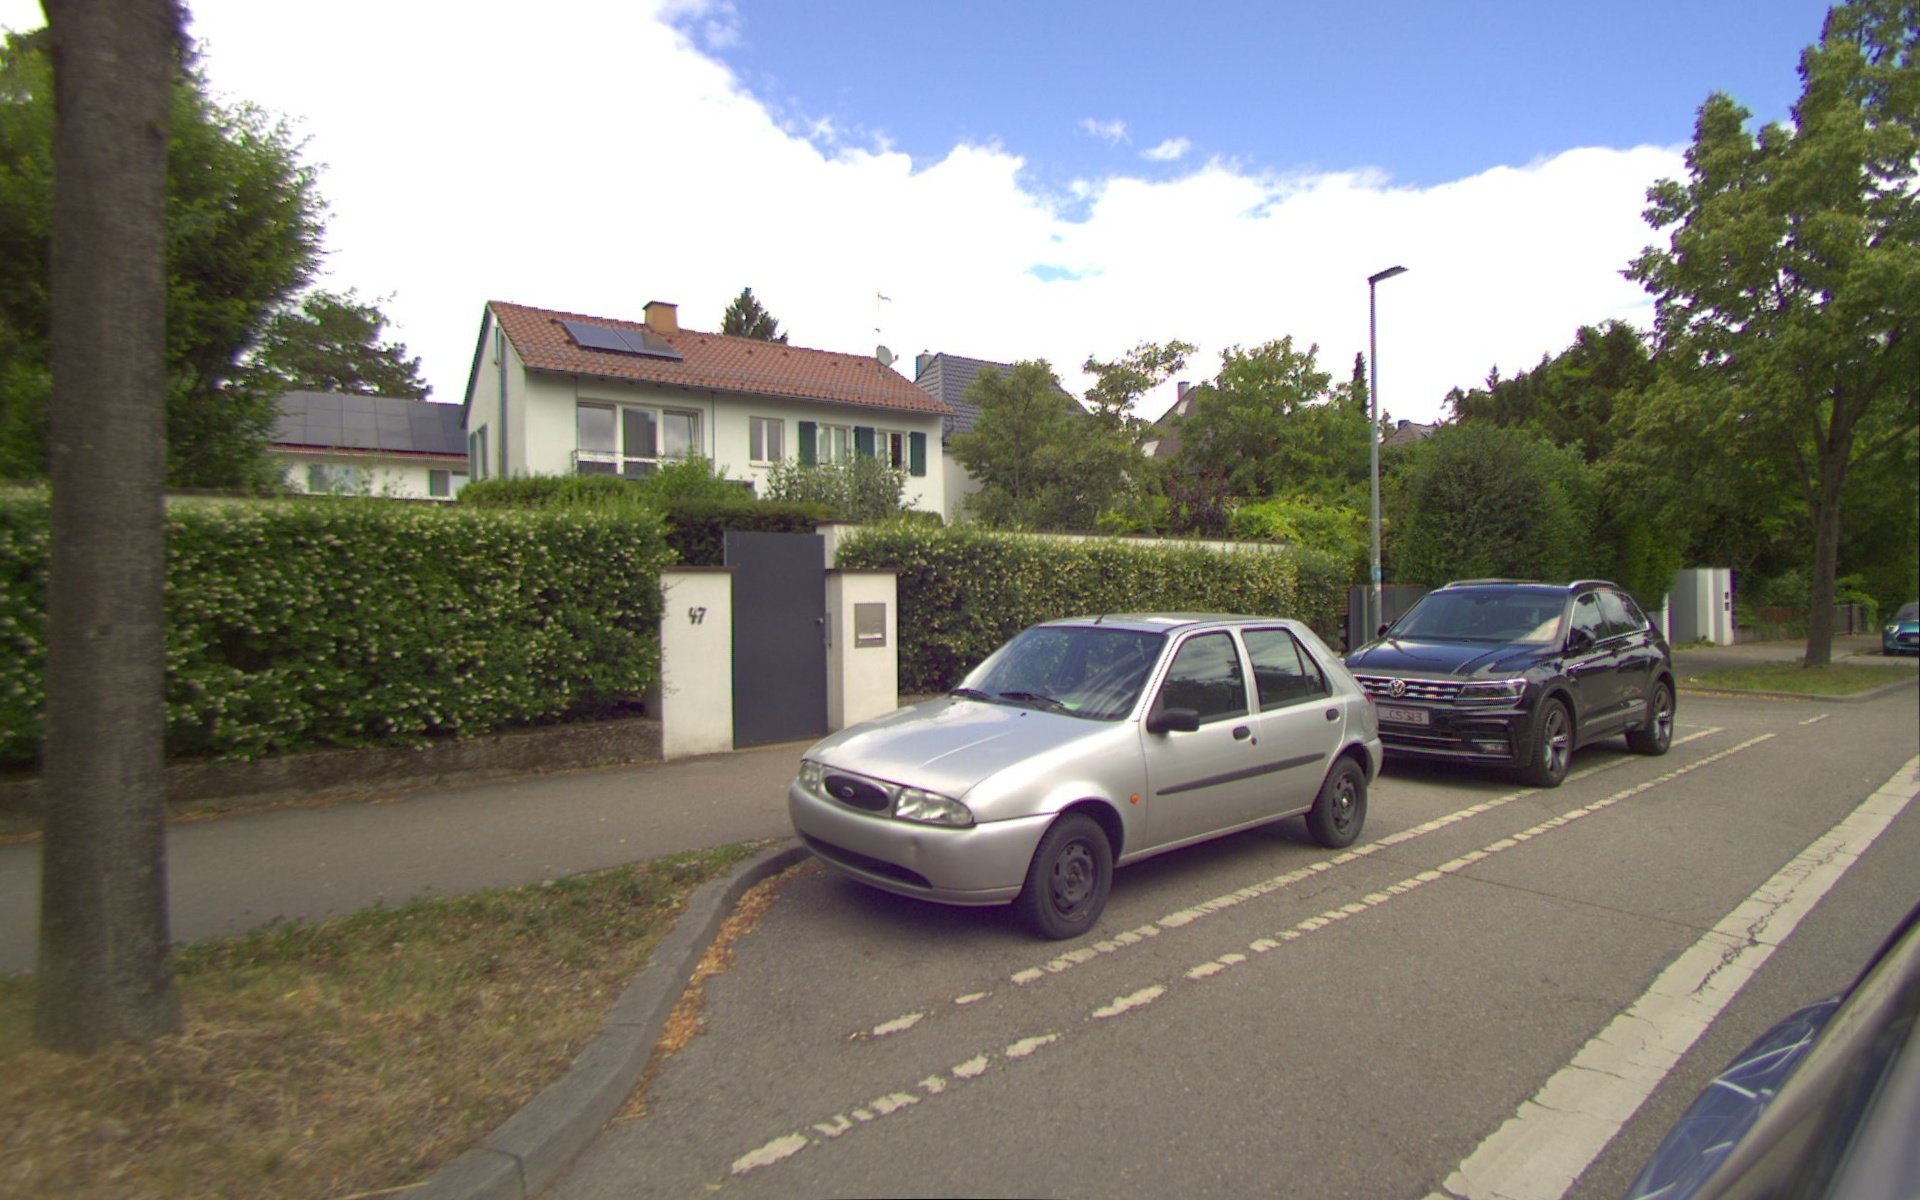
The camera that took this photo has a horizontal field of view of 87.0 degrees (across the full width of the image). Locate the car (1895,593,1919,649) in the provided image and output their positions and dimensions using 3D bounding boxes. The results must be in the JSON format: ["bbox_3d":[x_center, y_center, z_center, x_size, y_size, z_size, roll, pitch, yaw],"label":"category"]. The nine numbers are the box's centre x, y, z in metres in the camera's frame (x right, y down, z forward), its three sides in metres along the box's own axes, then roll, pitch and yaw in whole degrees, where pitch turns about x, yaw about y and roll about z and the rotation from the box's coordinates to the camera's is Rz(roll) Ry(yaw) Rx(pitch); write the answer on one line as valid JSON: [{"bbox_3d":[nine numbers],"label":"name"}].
[{"bbox_3d":[26.462,0.542,27.123,3.594,1.424,1.665,-1,1,-41],"label":"car"}]

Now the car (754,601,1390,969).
[{"bbox_3d":[0.793,0.706,5.600,3.478,1.368,1.560,0,1,-41],"label":"car"}]

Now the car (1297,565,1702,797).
[{"bbox_3d":[5.130,0.573,9.344,4.467,1.657,1.769,0,0,-40],"label":"car"}]
